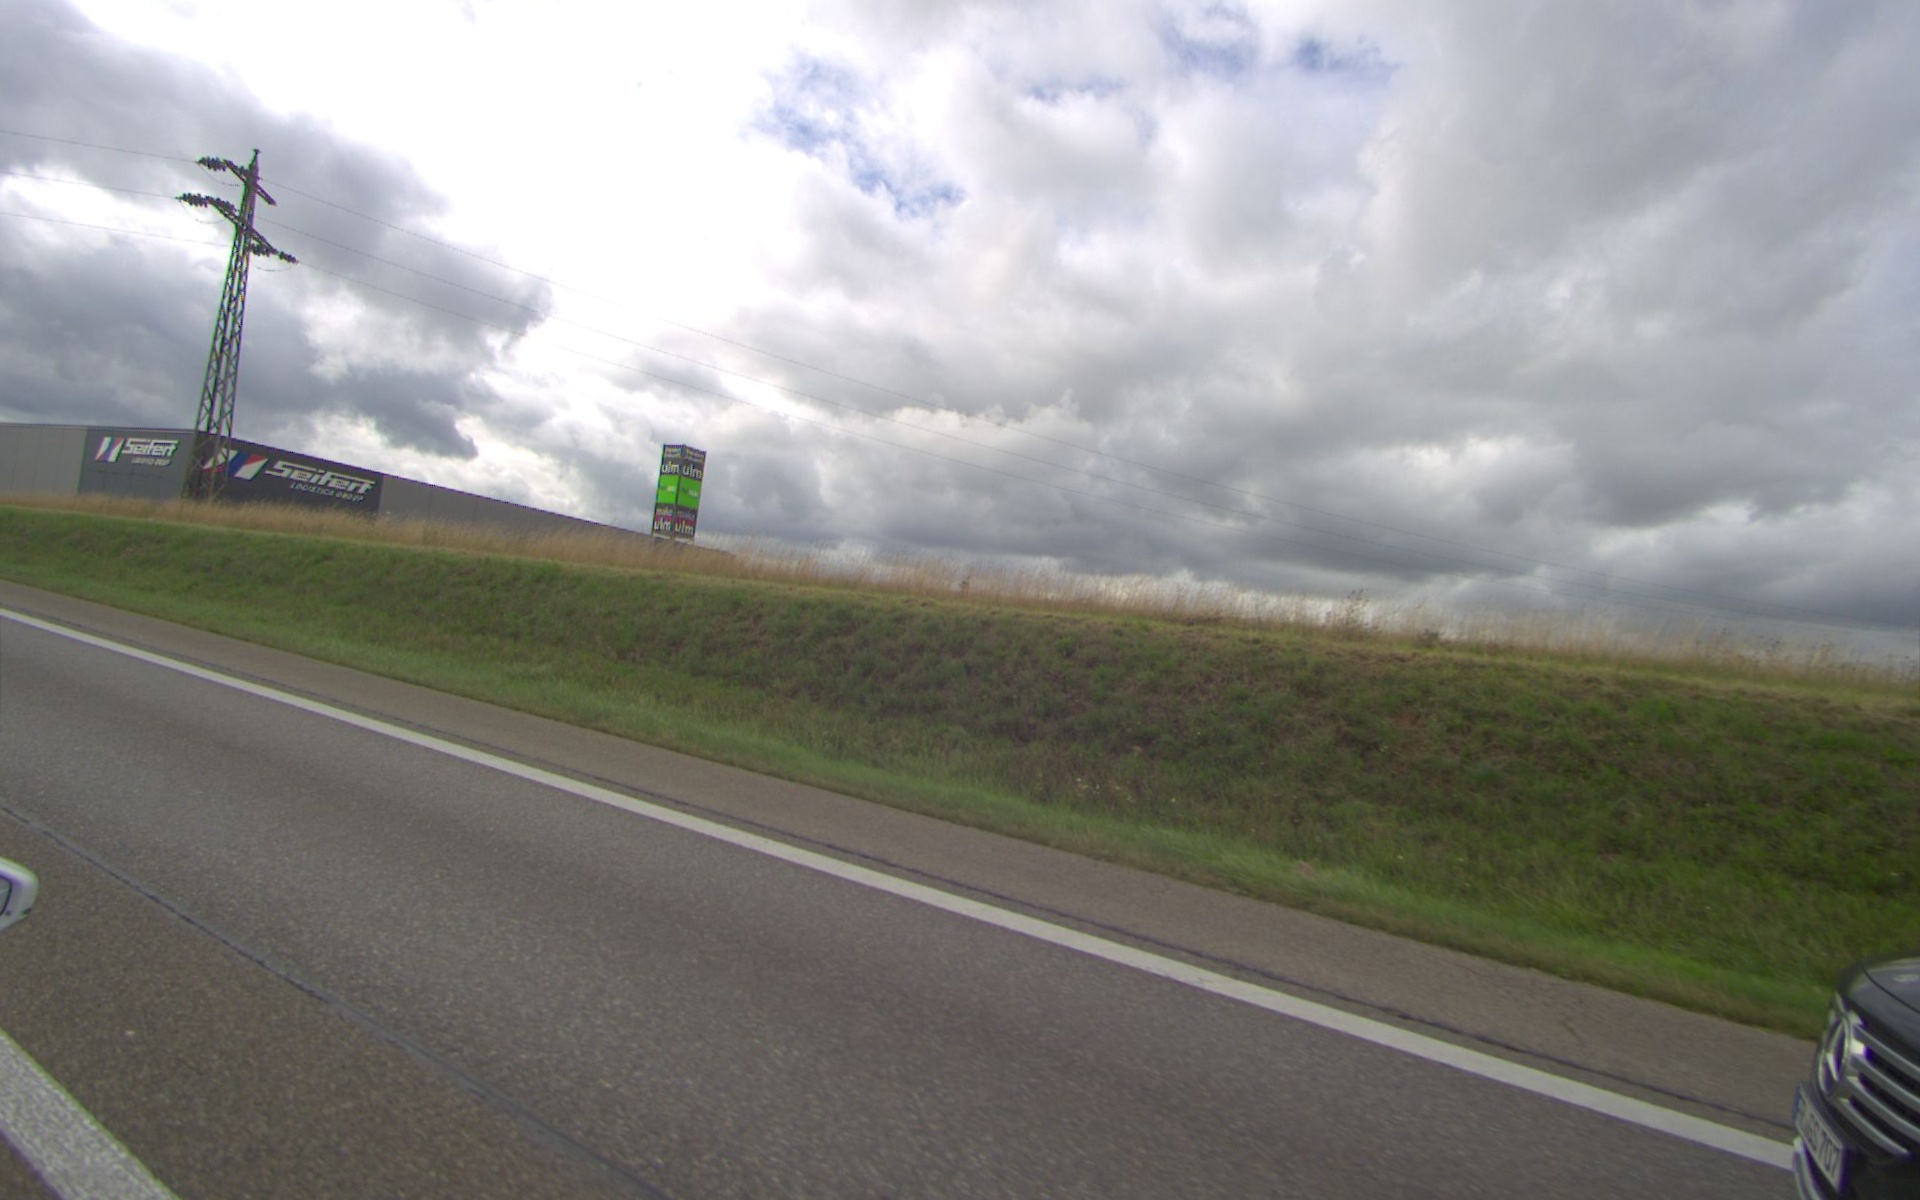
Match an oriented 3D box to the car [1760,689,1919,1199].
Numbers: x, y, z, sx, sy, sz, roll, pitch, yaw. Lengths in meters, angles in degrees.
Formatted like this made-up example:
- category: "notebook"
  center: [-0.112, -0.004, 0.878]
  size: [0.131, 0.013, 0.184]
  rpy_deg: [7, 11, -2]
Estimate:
- category: "car"
  center: [4.124, 1.238, 1.470]
  size: [4.289, 1.628, 1.836]
  rpy_deg: [6, -1, 32]
